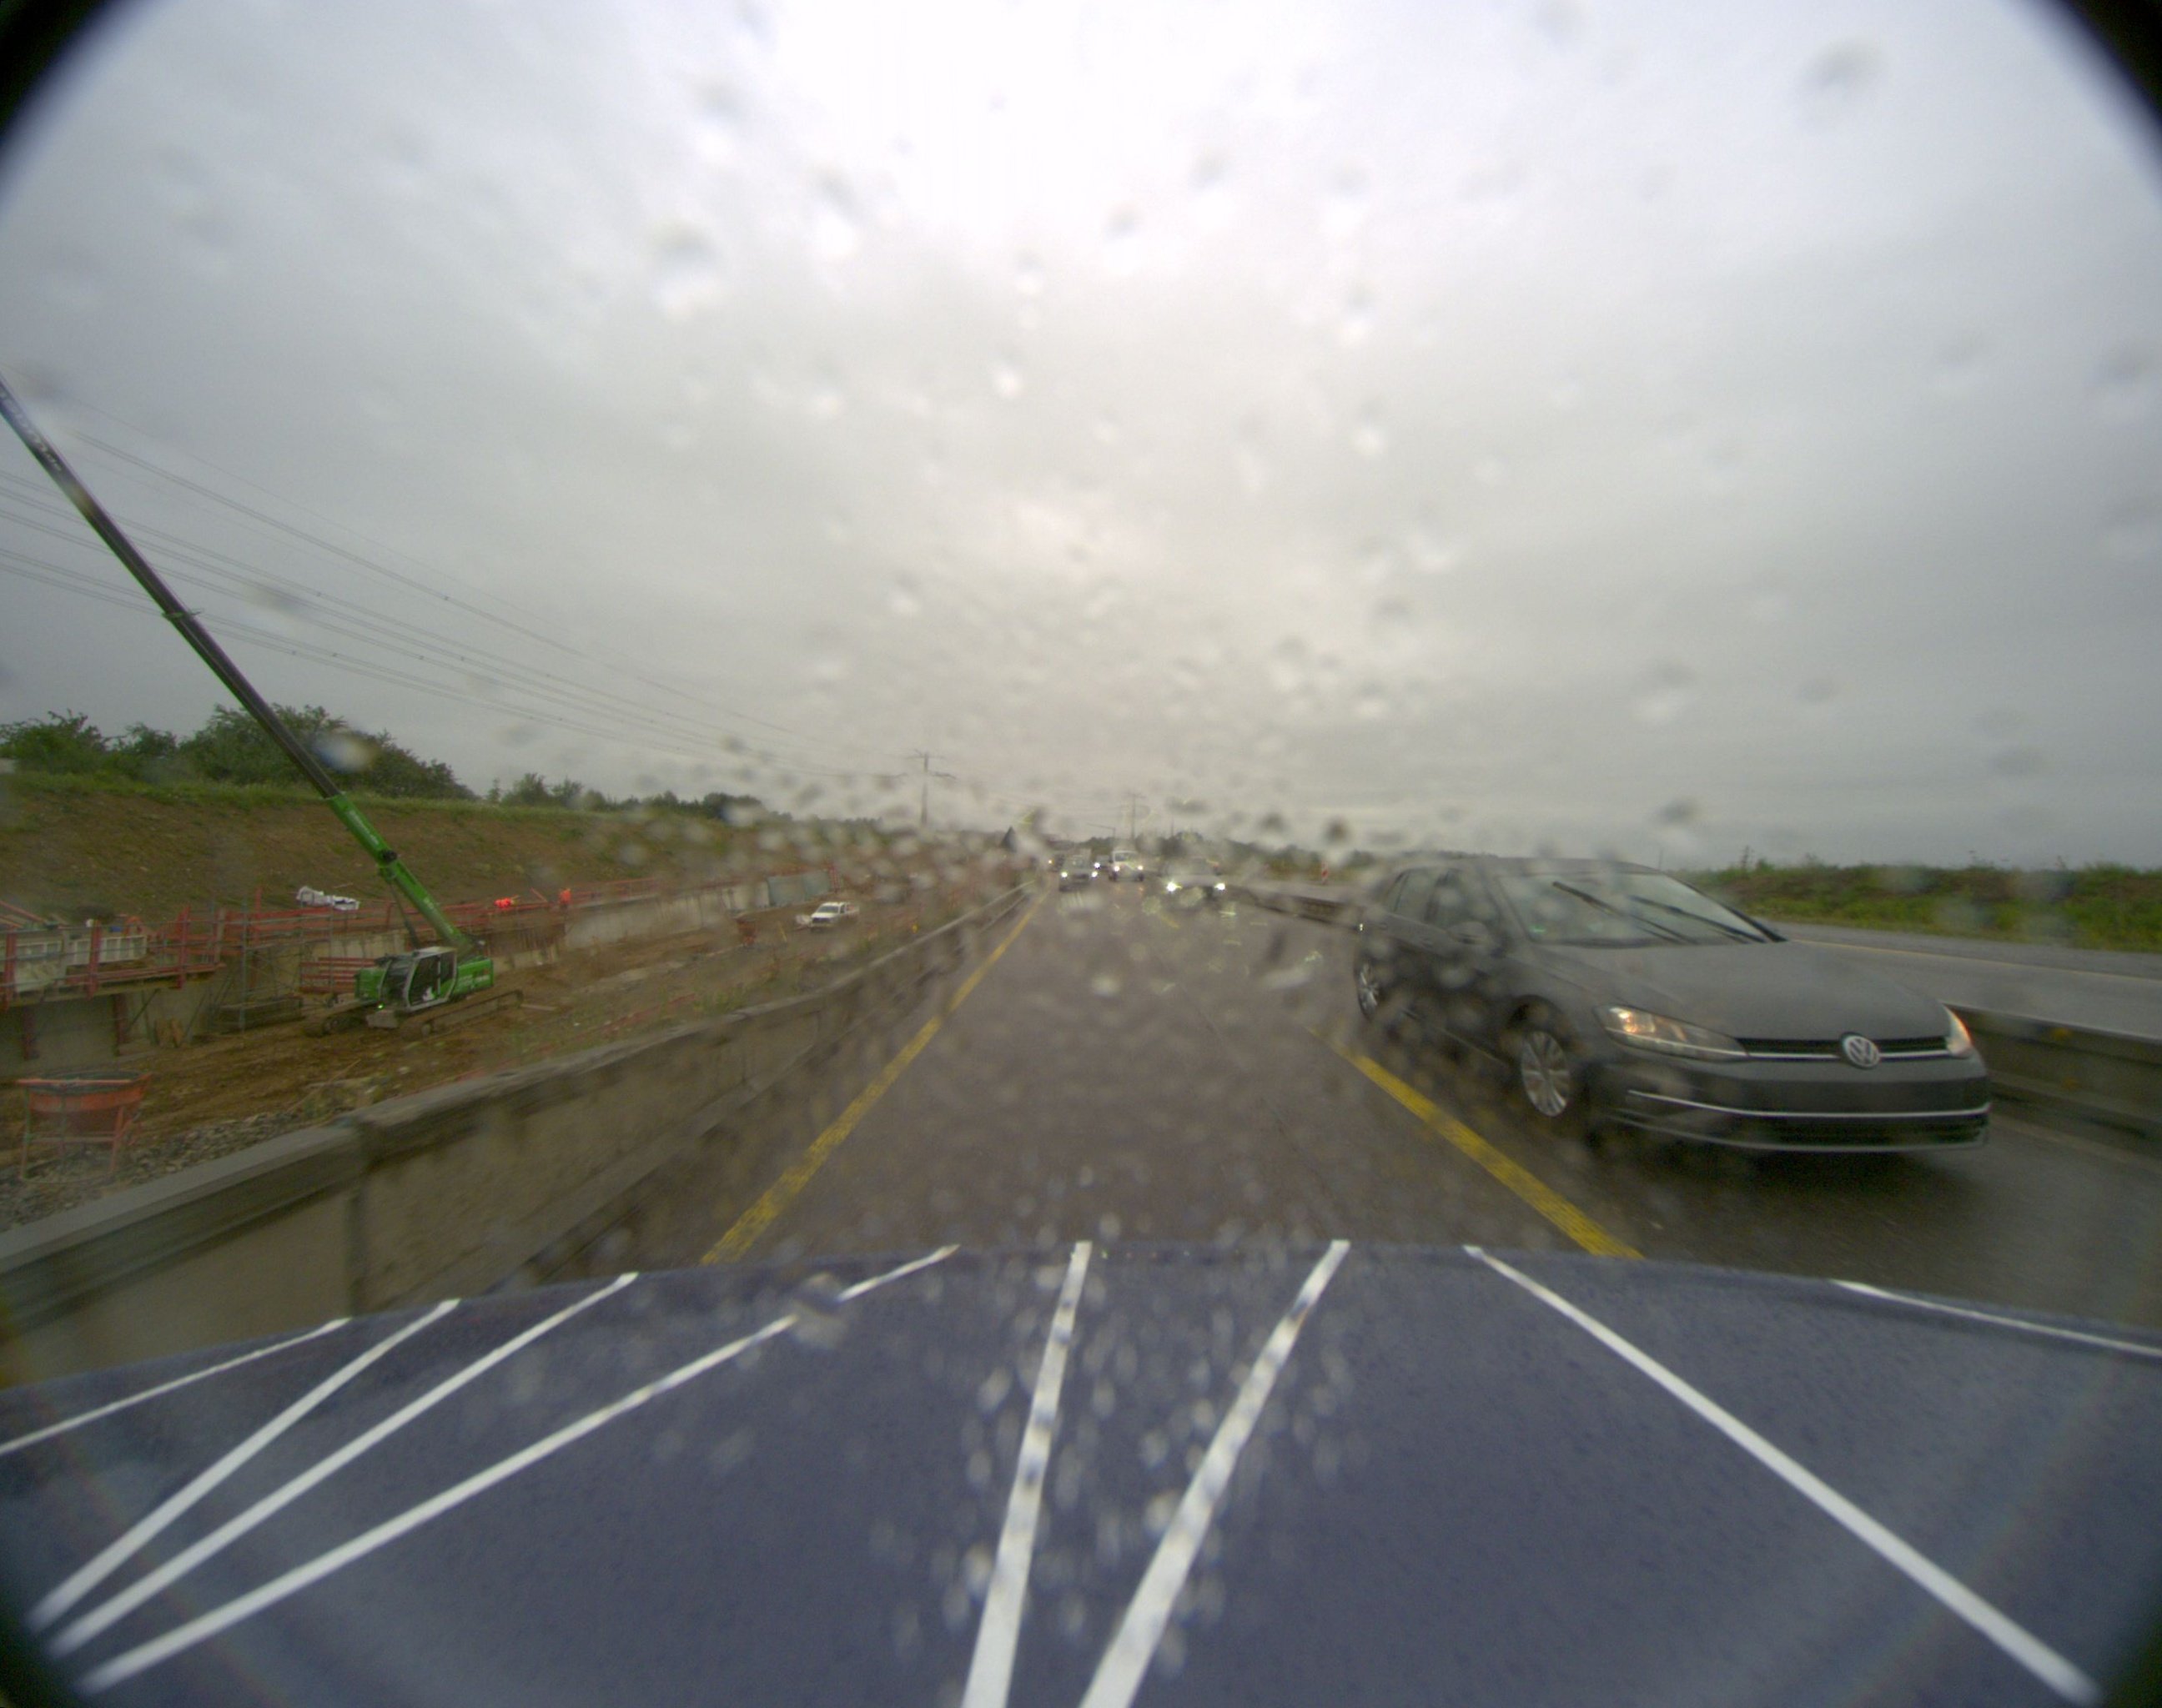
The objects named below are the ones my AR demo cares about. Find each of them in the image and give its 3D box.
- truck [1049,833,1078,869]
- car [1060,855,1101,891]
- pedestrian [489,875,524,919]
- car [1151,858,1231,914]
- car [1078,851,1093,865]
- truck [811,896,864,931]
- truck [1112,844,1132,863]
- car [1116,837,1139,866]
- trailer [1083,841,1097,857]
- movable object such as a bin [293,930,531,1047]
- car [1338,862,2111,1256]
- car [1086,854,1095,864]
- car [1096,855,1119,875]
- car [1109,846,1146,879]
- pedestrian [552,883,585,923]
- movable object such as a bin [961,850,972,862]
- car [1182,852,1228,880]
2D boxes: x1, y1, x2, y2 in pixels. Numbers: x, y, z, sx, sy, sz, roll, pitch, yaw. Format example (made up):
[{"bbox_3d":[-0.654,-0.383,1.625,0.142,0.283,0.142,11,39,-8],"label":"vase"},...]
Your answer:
[{"bbox_3d":[-1.854,-0.371,82.965,2.837,3.617,9.118,-2,1,0],"label":"truck"},{"bbox_3d":[0.011,0.860,36.226,1.799,1.524,4.307,-2,0,1],"label":"car"},{"bbox_3d":[-31.320,2.327,41.435,0.918,2.233,1.005,-6,2,-3],"label":"pedestrian"},{"bbox_3d":[3.178,0.889,22.820,1.799,1.389,4.268,-2,1,1],"label":"car"},{"bbox_3d":[0.610,0.566,104.750,1.800,1.850,4.285,-2,1,-2],"label":"car"},{"bbox_3d":[-16.578,4.014,51.969,1.766,1.860,5.785,1,1,0],"label":"truck"},{"bbox_3d":[6.312,-0.128,117.792,2.365,2.877,6.546,1,0,-2],"label":"truck"},{"bbox_3d":[5.181,-0.266,85.663,1.999,3.028,7.170,-2,0,-1],"label":"car"},{"bbox_3d":[2.370,-1.308,206.716,2.794,4.176,13.669,0,0,-3],"label":"trailer"},{"bbox_3d":[-22.990,4.533,26.571,3.802,2.790,4.849,-1,6,-1],"label":"movable object such as a bin"},{"bbox_3d":[3.213,0.832,5.022,1.654,1.414,4.080,-1,1,0],"label":"car"},{"bbox_3d":[1.851,0.947,148.769,1.799,1.850,4.286,-2,1,0],"label":"car"},{"bbox_3d":[2.224,0.918,65.268,1.800,1.521,4.066,-2,1,-1],"label":"car"},{"bbox_3d":[2.882,0.495,48.274,2.160,1.848,5.179,-2,1,2],"label":"car"},{"bbox_3d":[-29.890,2.850,44.328,0.917,2.219,1.006,-6,2,4],"label":"pedestrian"},{"bbox_3d":[-26.668,0.418,177.164,2.252,2.703,3.998,-2,1,-3],"label":"movable object such as a bin"},{"bbox_3d":[7.275,0.675,44.934,1.899,1.488,4.580,-2,1,-1],"label":"car"}]
